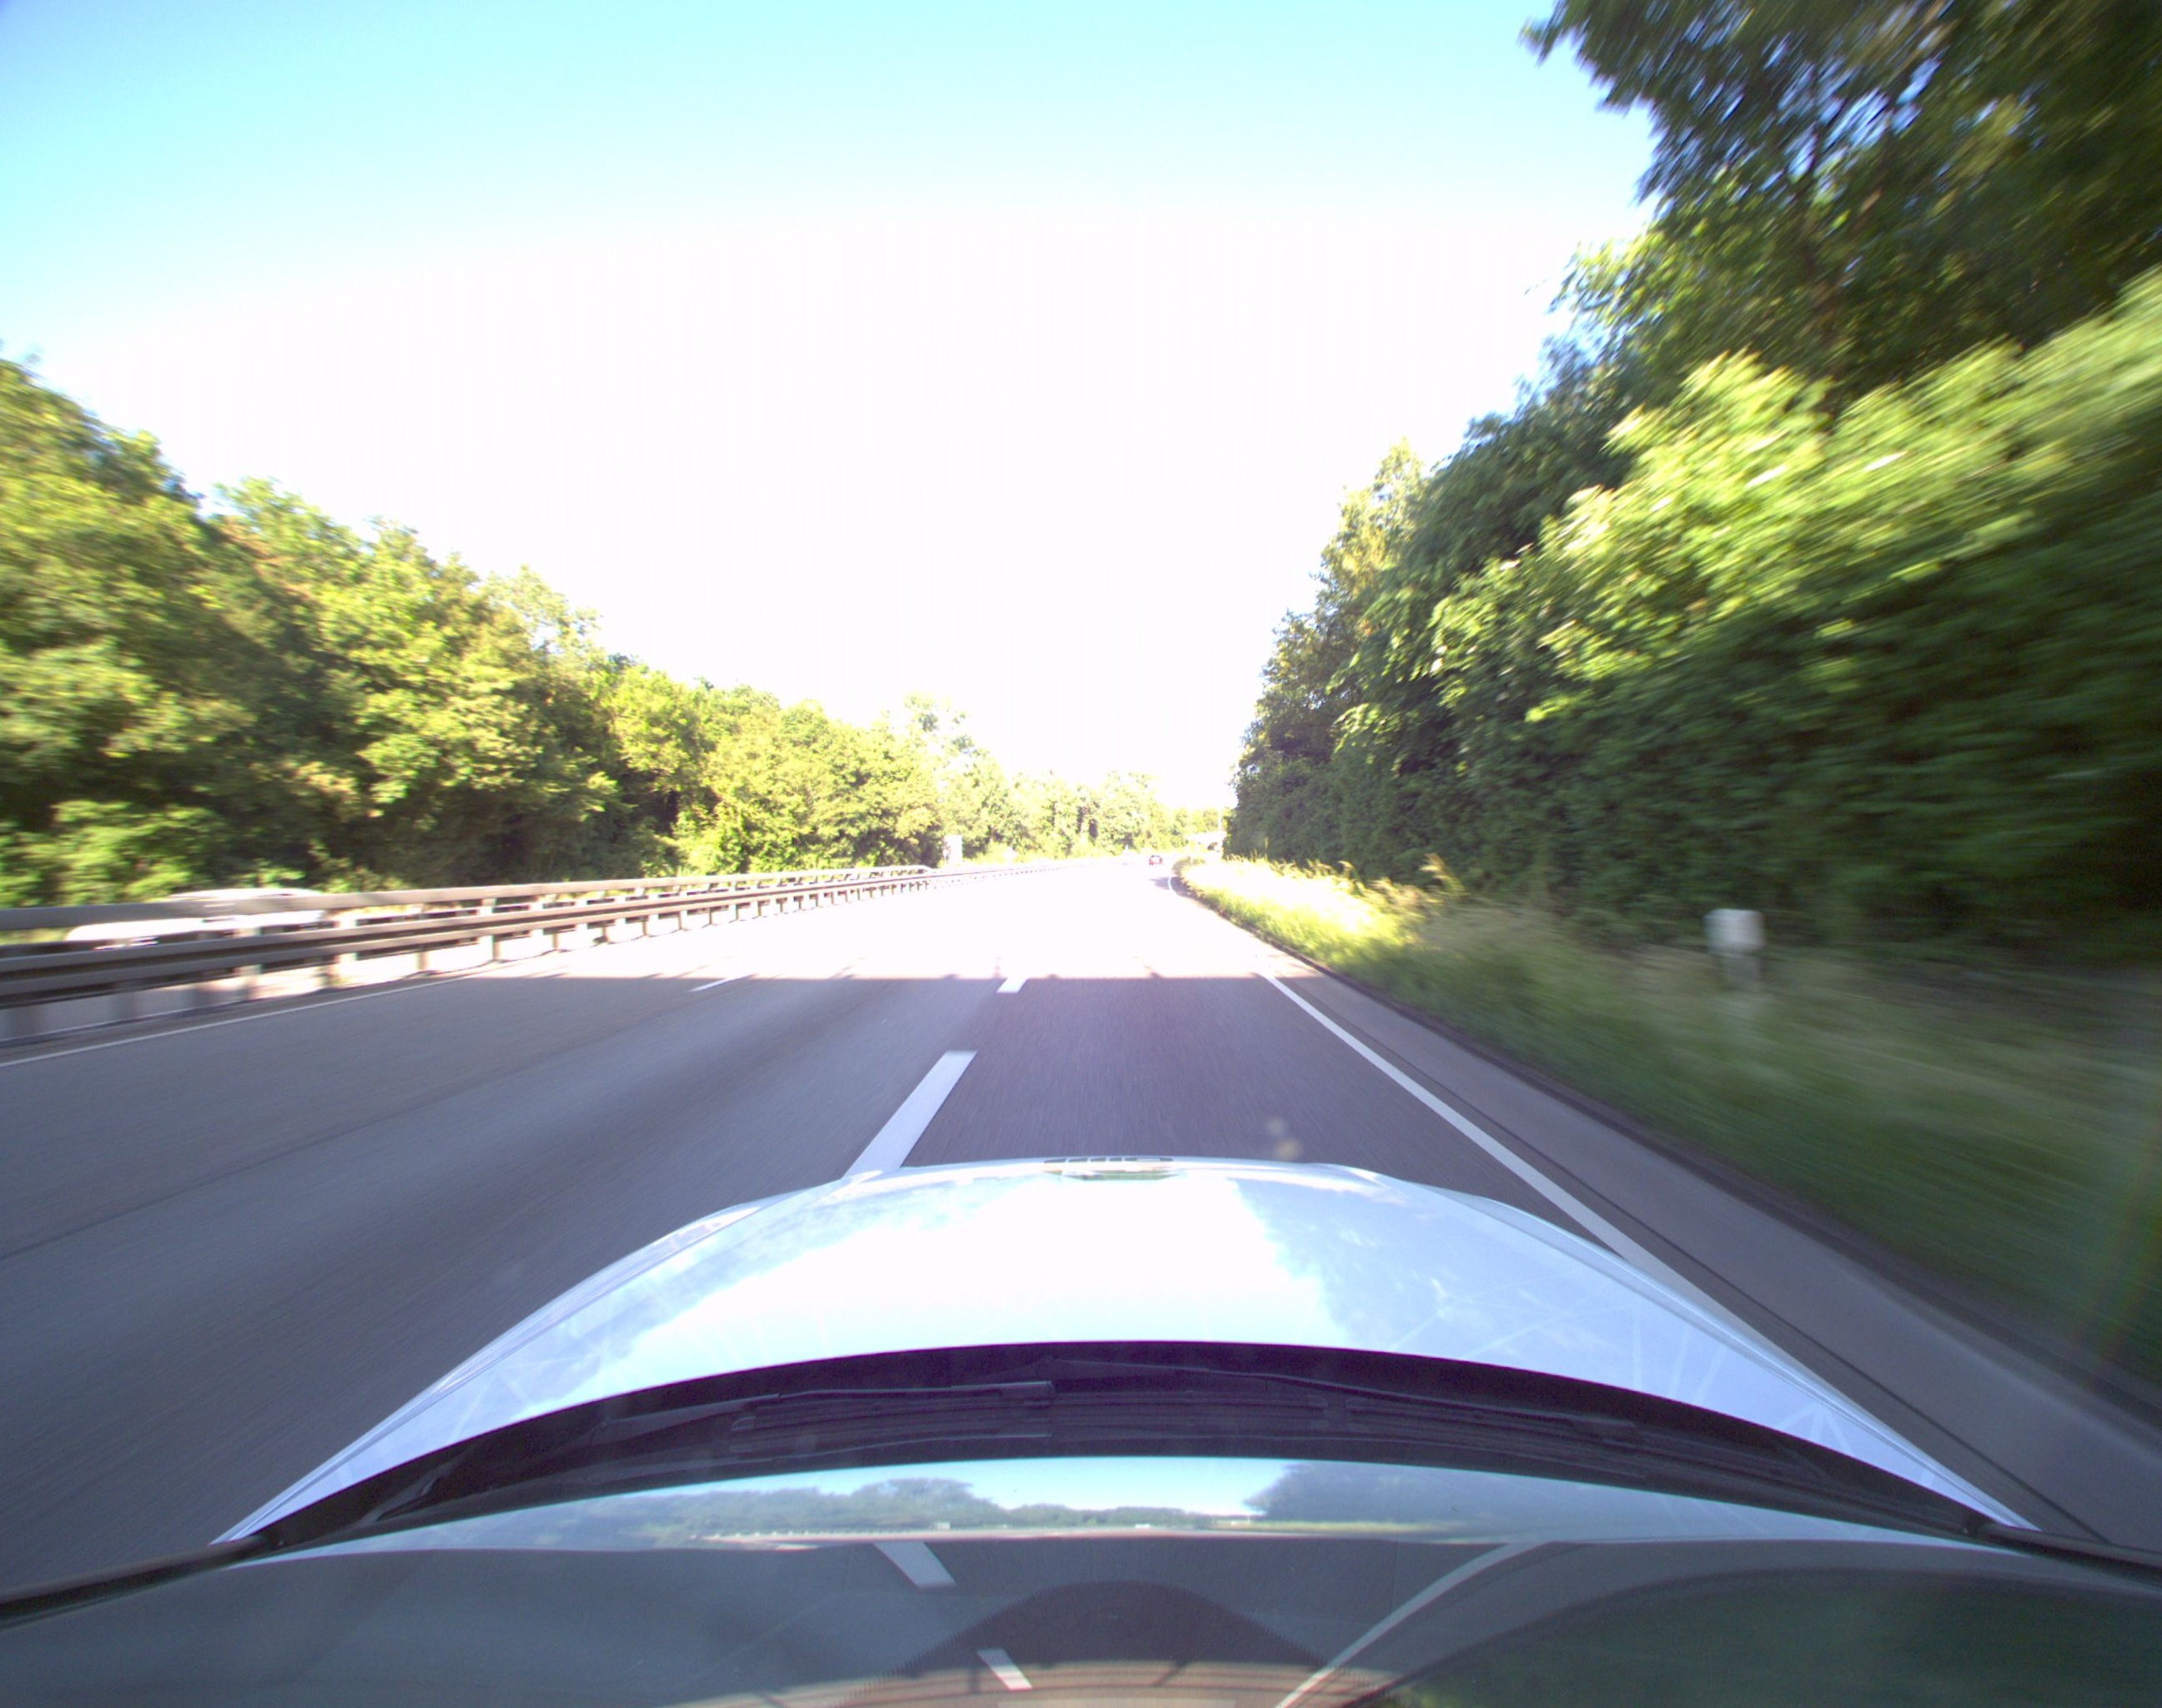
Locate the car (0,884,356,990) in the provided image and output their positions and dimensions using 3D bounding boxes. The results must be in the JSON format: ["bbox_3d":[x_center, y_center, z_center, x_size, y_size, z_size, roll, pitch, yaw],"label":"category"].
[{"bbox_3d":[-17.438,1.477,15.990,1.985,1.594,4.733,0,0,4],"label":"car"}]

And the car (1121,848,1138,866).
[{"bbox_3d":[6.525,0.411,109.240,1.983,2.277,4.008,-2,0,7],"label":"car"}]

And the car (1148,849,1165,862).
[{"bbox_3d":[9.956,0.237,107.752,1.728,1.662,3.958,-2,0,12],"label":"car"}]

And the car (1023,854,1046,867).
[{"bbox_3d":[-7.710,1.063,135.291,1.975,2.014,4.654,-1,-1,24],"label":"car"}]
